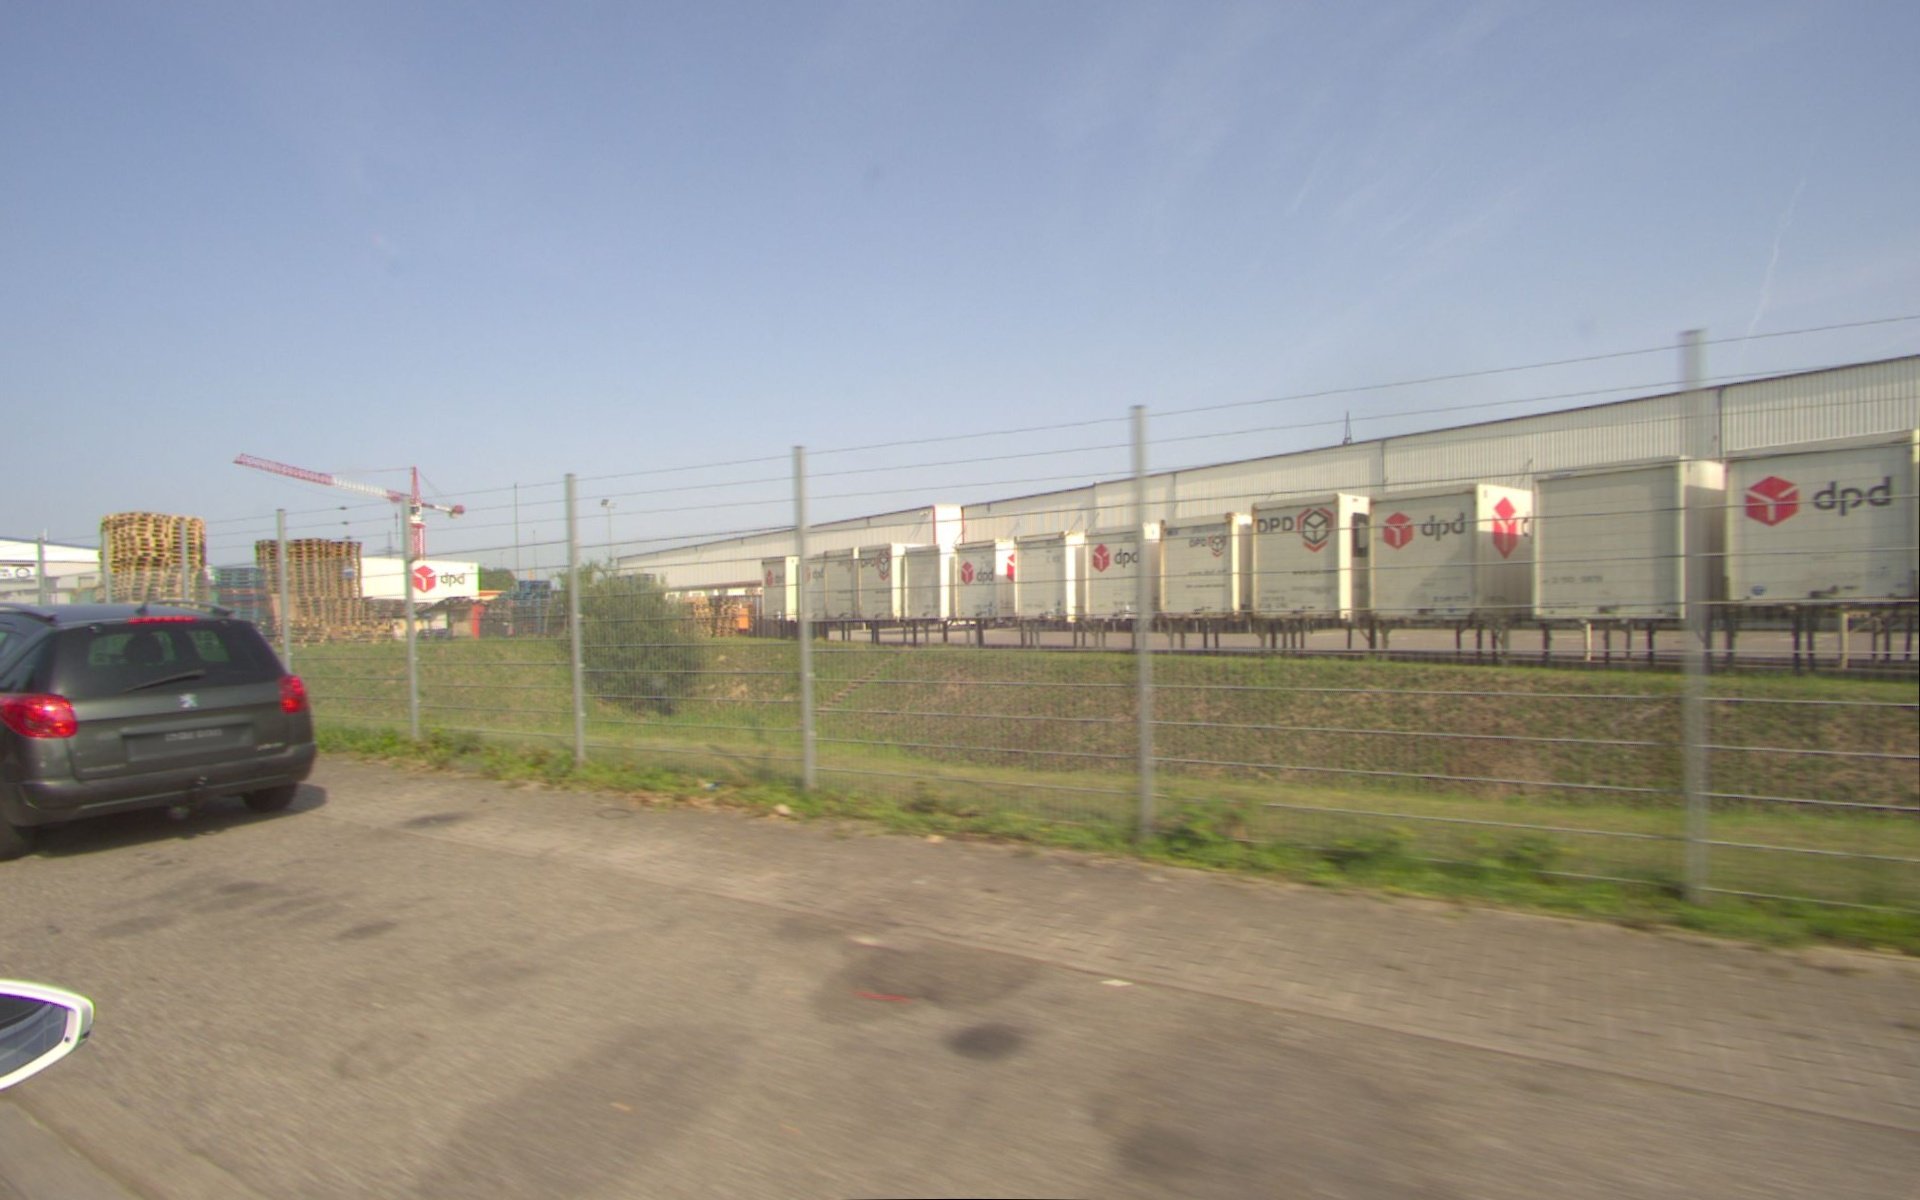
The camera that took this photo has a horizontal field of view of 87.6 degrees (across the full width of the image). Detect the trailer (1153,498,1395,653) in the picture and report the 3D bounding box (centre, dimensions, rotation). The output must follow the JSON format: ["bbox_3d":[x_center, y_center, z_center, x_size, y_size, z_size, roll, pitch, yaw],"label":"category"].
[{"bbox_3d":[9.290,-0.512,29.070,7.899,3.944,2.753,2,-1,-39],"label":"trailer"}]

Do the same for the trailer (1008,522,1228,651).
[{"bbox_3d":[5.511,-0.295,33.987,7.899,3.944,2.753,2,-1,-39],"label":"trailer"}]

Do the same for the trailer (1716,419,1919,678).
[{"bbox_3d":[17.103,-0.666,18.772,8.241,3.944,2.753,2,-1,-39],"label":"trailer"}]

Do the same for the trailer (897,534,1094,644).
[{"bbox_3d":[1.531,-0.290,39.576,7.899,3.944,2.753,2,-1,-39],"label":"trailer"}]

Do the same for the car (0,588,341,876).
[{"bbox_3d":[-6.438,0.740,7.198,3.945,1.536,1.711,-1,2,31],"label":"car"}]

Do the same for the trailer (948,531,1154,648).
[{"bbox_3d":[3.505,-0.238,37.140,7.899,3.944,2.753,2,-1,-39],"label":"trailer"}]

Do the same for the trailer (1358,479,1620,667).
[{"bbox_3d":[13.152,-0.450,24.538,7.969,3.944,2.753,2,-1,-39],"label":"trailer"}]

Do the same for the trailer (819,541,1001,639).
[{"bbox_3d":[-2.071,-0.296,44.019,7.899,3.944,2.753,2,-1,-39],"label":"trailer"}]

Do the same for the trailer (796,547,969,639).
[{"bbox_3d":[-3.483,-0.189,46.782,7.899,3.944,2.720,2,-1,-39],"label":"trailer"}]

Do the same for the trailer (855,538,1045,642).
[{"bbox_3d":[-0.293,-0.269,41.771,7.899,3.944,2.753,2,-1,-39],"label":"trailer"}]

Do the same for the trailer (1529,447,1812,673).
[{"bbox_3d":[15.246,-0.574,21.179,8.241,3.944,2.753,2,-1,-39],"label":"trailer"}]

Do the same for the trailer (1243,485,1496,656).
[{"bbox_3d":[11.099,-0.574,26.704,7.899,3.944,2.753,2,-1,-39],"label":"trailer"}]

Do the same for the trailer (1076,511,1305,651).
[{"bbox_3d":[7.458,-0.416,31.700,7.899,3.944,2.753,2,-1,-39],"label":"trailer"}]

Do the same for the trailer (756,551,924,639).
[{"bbox_3d":[-5.729,-0.144,48.911,7.899,3.944,2.720,2,-1,-39],"label":"trailer"}]
